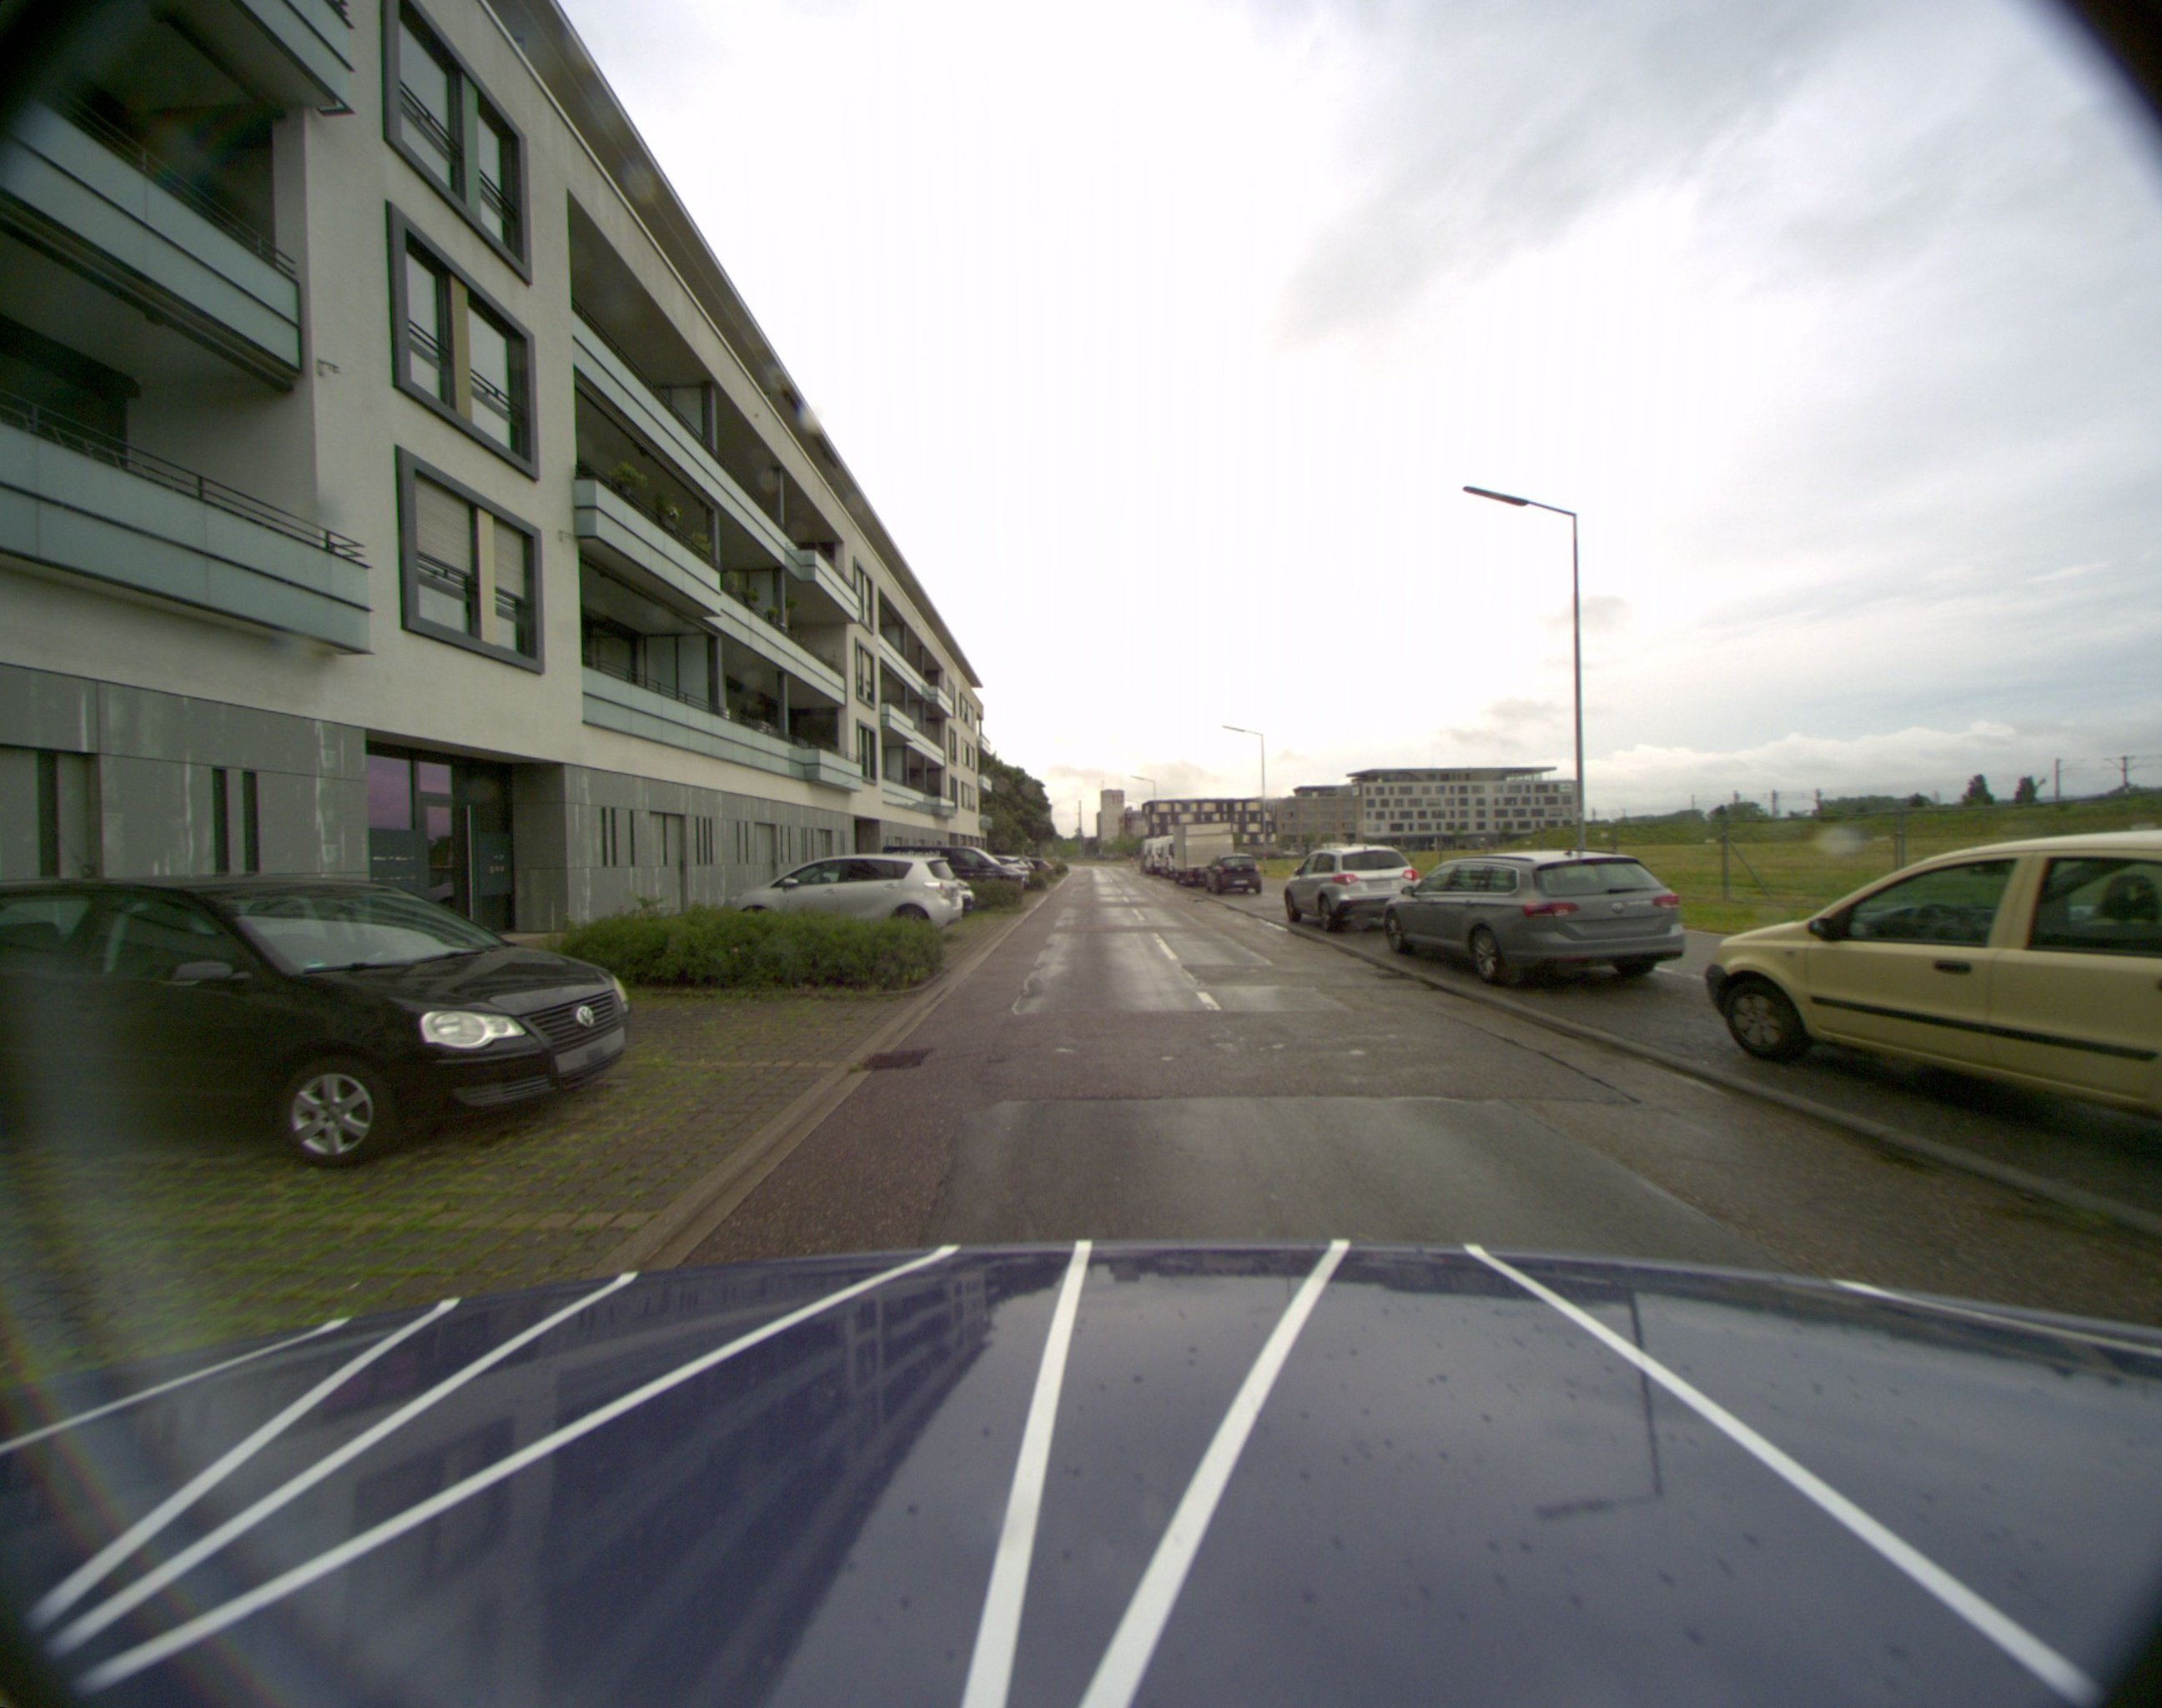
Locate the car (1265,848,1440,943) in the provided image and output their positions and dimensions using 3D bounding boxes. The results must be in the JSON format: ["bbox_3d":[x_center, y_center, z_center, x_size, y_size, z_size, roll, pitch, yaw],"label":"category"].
[{"bbox_3d":[5.522,0.751,16.272,1.857,1.598,4.988,-4,0,0],"label":"car"}]

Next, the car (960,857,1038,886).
[{"bbox_3d":[-4.471,0.958,41.927,4.100,1.469,1.711,-1,0,0],"label":"car"}]

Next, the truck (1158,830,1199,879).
[{"bbox_3d":[6.092,0.026,48.042,2.045,2.750,6.739,-3,0,4],"label":"truck"}]

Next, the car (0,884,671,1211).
[{"bbox_3d":[-4.896,0.972,4.609,3.855,1.482,1.763,1,0,2],"label":"car"}]

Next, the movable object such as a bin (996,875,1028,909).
[{"bbox_3d":[-2.158,1.169,23.664,0.815,1.040,0.541,-1,1,39],"label":"movable object such as a bin"}]

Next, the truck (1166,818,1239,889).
[{"bbox_3d":[5.794,-0.033,37.280,2.442,3.050,6.700,-3,0,0],"label":"truck"}]

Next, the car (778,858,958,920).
[{"bbox_3d":[-5.414,0.869,19.730,4.187,1.474,1.750,1,1,-3],"label":"car"}]

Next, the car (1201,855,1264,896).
[{"bbox_3d":[5.803,0.792,29.542,1.676,1.454,4.157,-1,0,1],"label":"car"}]

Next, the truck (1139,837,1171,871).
[{"bbox_3d":[6.247,0.029,64.594,2.180,2.730,5.290,-2,0,1],"label":"truck"}]

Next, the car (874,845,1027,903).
[{"bbox_3d":[-4.553,0.695,27.047,5.062,1.917,1.982,1,0,1],"label":"car"}]

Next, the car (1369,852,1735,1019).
[{"bbox_3d":[5.522,0.796,9.810,1.842,1.519,4.670,-3,1,1],"label":"car"}]

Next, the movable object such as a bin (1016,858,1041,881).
[{"bbox_3d":[-3.146,0.939,45.637,1.352,1.330,0.977,-2,0,0],"label":"movable object such as a bin"}]

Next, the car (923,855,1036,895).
[{"bbox_3d":[-4.263,0.859,32.407,4.428,1.592,2.083,1,0,6],"label":"car"}]

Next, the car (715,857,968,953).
[{"bbox_3d":[-4.374,0.915,14.338,4.218,1.634,1.686,-1,1,0],"label":"car"}]

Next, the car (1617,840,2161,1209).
[{"bbox_3d":[5.515,0.723,4.453,1.730,1.566,4.210,-2,1,-1],"label":"car"}]

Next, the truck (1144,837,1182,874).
[{"bbox_3d":[6.137,0.110,57.421,2.180,2.591,6.132,-2,0,1],"label":"truck"}]
